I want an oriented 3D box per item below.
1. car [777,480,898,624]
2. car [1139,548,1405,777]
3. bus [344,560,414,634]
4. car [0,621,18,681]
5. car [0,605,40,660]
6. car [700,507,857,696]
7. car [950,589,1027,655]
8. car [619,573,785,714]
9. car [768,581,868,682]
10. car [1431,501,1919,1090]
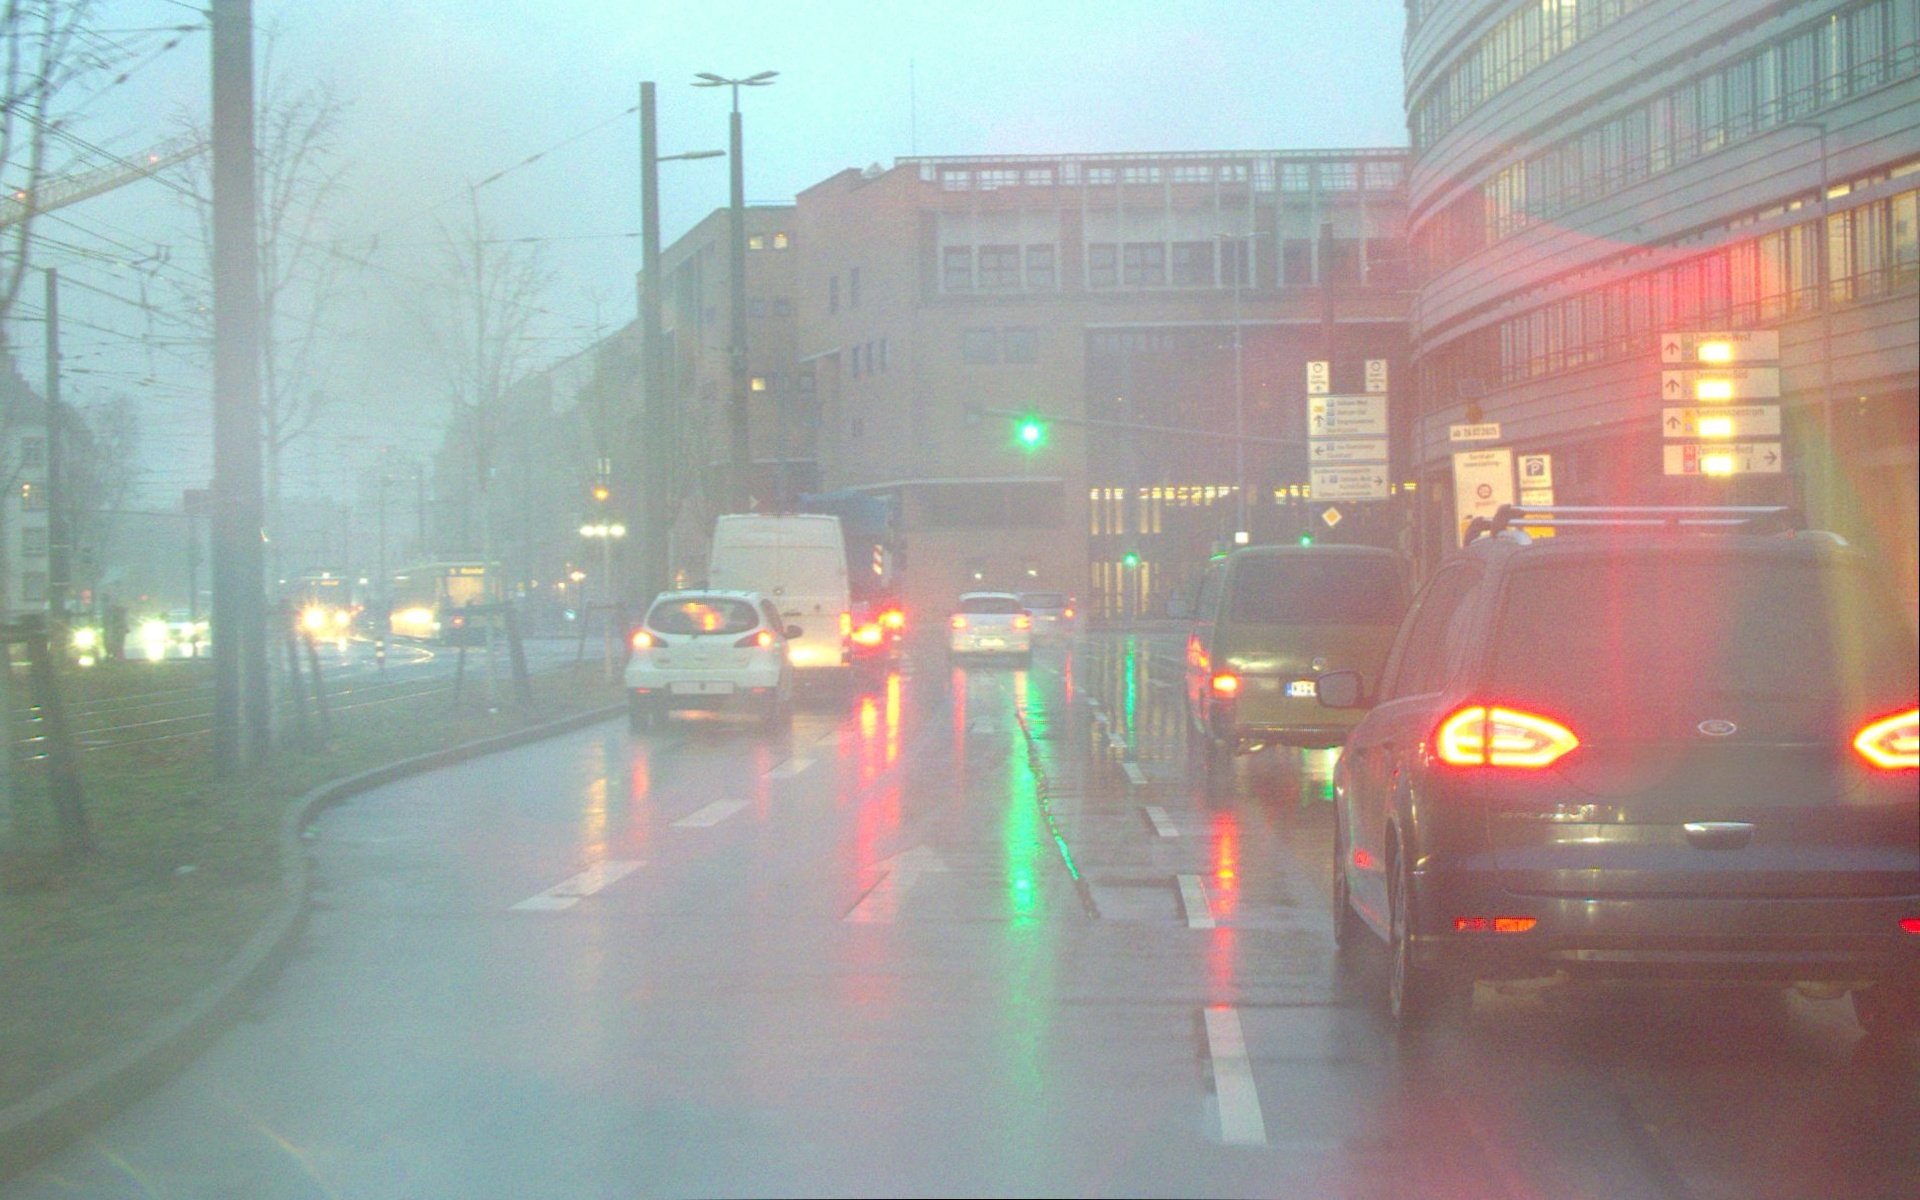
[{"bbox_3d":[-2.542,-0.945,71.081,2.355,2.817,6.359,-1,0,-2],"label":"car"},{"bbox_3d":[2.595,0.486,29.525,1.843,1.800,4.487,-1,0,0],"label":"car"},{"bbox_3d":[-27.503,-0.131,162.506,2.822,3.361,8.002,-1,0,-12],"label":"bus"},{"bbox_3d":[-23.464,1.215,80.282,1.729,1.388,4.199,-1,0,1],"label":"car"},{"bbox_3d":[-26.066,0.858,92.402,1.993,1.445,4.316,-1,0,-7],"label":"car"},{"bbox_3d":[-2.541,0.013,47.487,1.993,2.419,5.975,-1,0,-4],"label":"car"},{"bbox_3d":[0.597,0.436,70.610,1.511,1.301,3.040,-1,0,2],"label":"car"},{"bbox_3d":[-2.883,0.454,39.059,1.638,1.491,3.685,-1,1,-1],"label":"car"},{"bbox_3d":[-2.259,0.500,54.286,1.518,1.515,3.470,-1,-1,-3],"label":"car"},{"bbox_3d":[2.719,0.587,12.431,1.674,1.773,4.000,1,0,3],"label":"car"}]
